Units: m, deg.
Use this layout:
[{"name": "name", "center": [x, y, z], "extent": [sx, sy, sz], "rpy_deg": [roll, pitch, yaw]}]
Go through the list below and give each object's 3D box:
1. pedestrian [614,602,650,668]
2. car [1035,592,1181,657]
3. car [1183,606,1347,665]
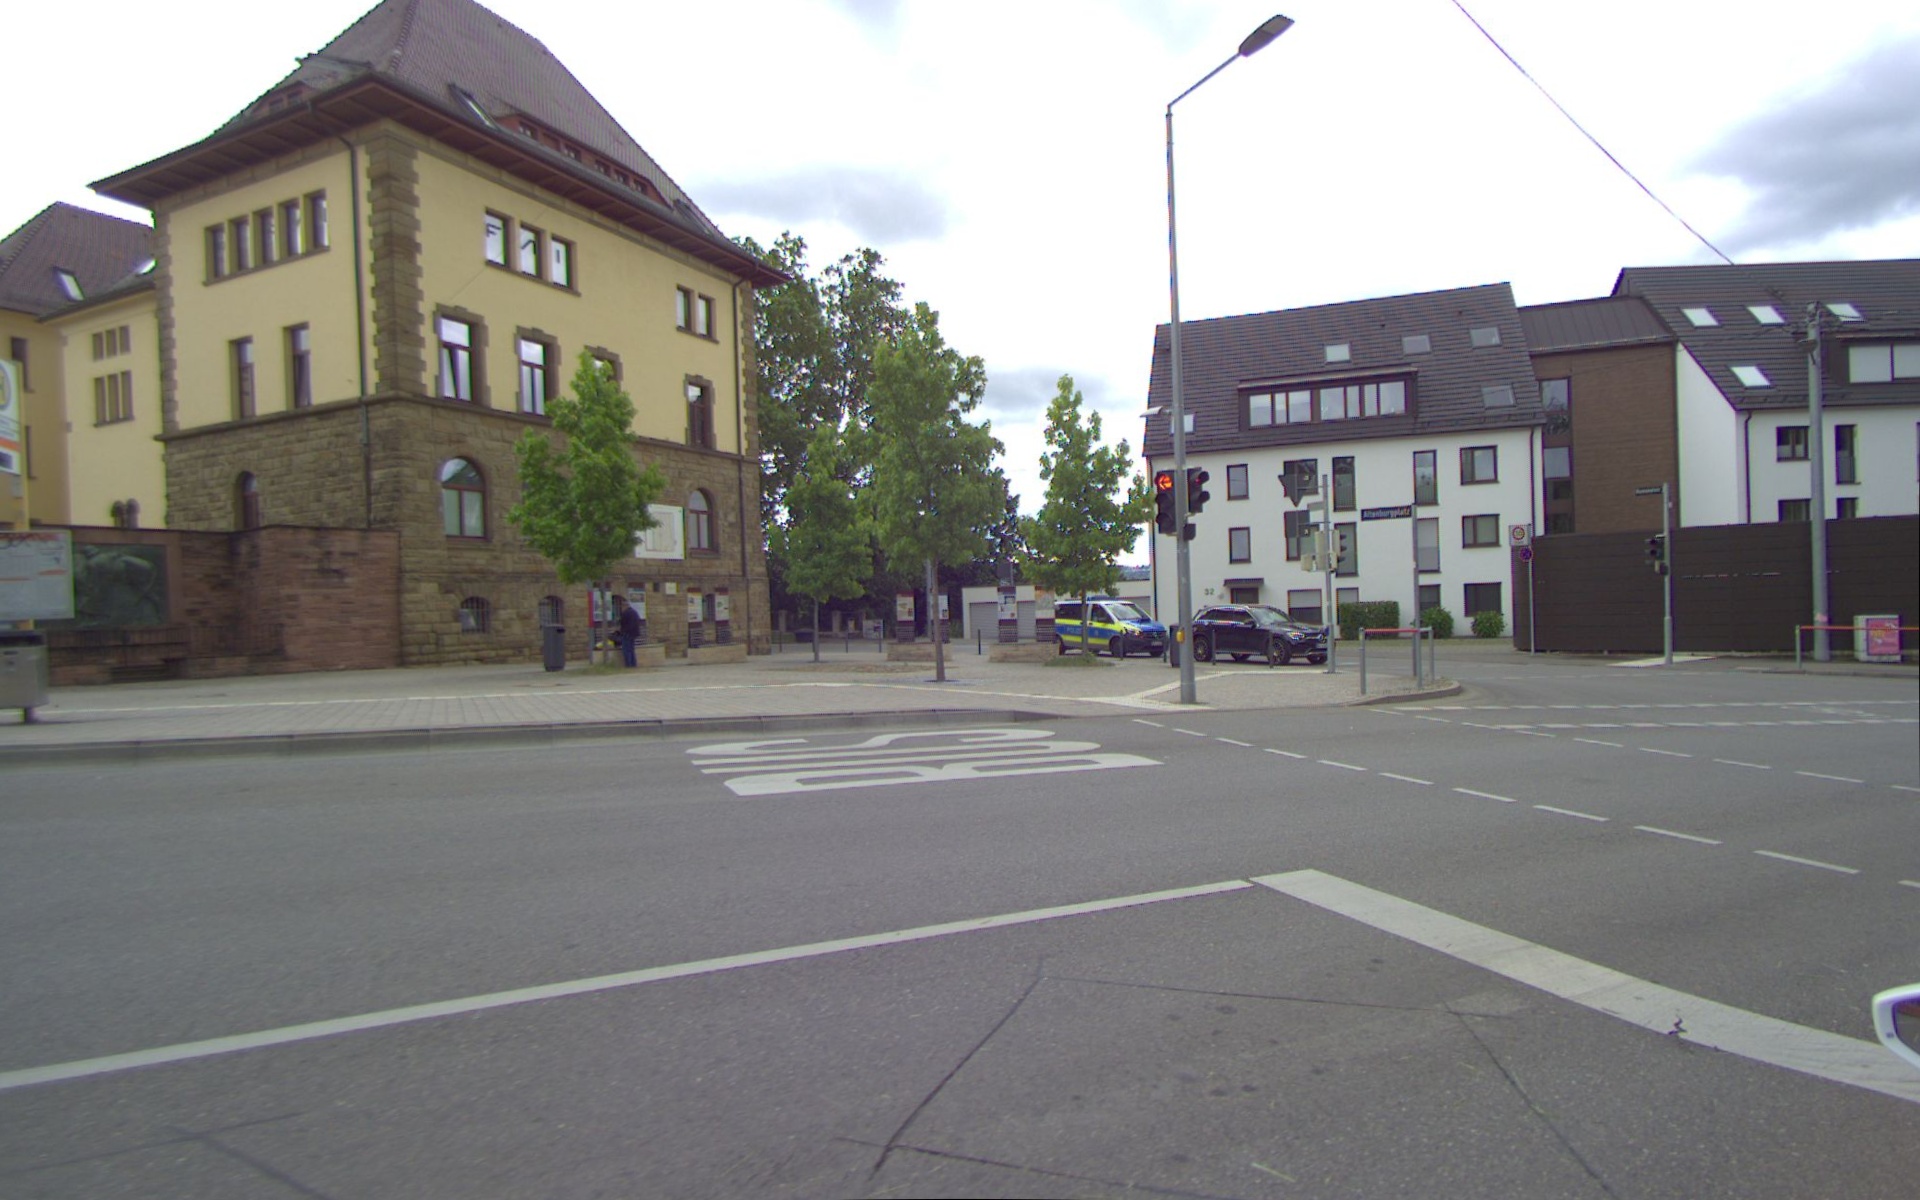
[{"name": "pedestrian", "center": [-8.050, 0.847, 24.688], "extent": [0.532, 1.598, 0.650], "rpy_deg": [0, -1, 41]}, {"name": "car", "center": [4.933, 0.809, 34.166], "extent": [1.981, 2.040, 5.039], "rpy_deg": [2, -1, -36]}, {"name": "car", "center": [8.604, 0.972, 28.685], "extent": [1.978, 1.533, 4.237], "rpy_deg": [1, -1, -32]}]
